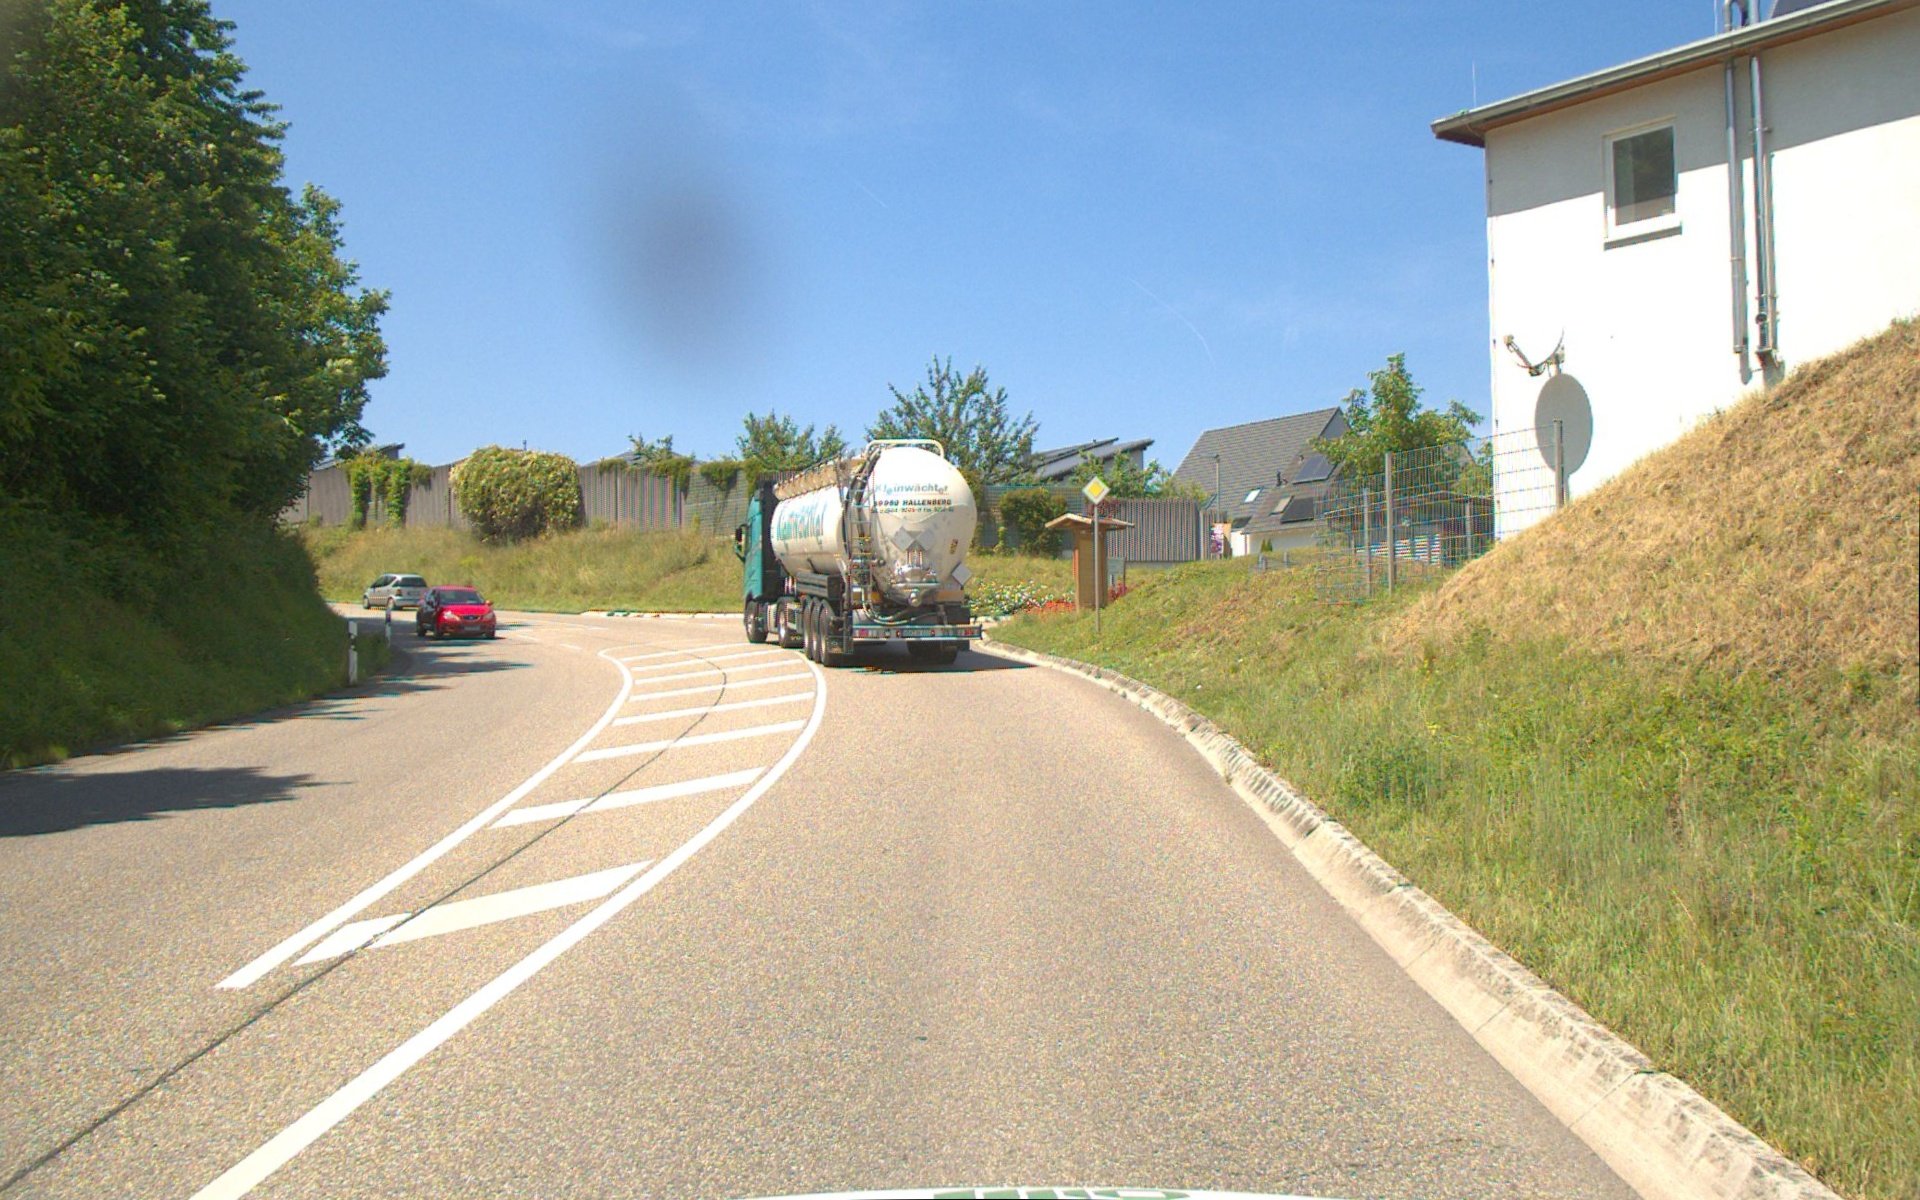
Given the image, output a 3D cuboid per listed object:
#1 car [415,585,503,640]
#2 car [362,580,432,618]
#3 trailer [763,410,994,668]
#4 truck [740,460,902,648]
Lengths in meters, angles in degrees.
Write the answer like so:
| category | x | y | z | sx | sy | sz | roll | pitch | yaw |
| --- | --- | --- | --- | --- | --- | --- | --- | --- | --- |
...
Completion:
| category | x | y | z | sx | sy | sz | roll | pitch | yaw |
| --- | --- | --- | --- | --- | --- | --- | --- | --- | --- |
| car | -14.444 | 0.339 | 47.584 | 1.730 | 1.473 | 3.964 | -2 | 1 | -27 |
| car | -24.415 | -0.051 | 71.654 | 1.638 | 1.536 | 3.585 | 4 | -2 | -41 |
| trailer | -2.025 | -1.116 | 33.438 | 2.615 | 4.261 | 11.866 | -1 | 1 | -13 |
| truck | -3.456 | -1.016 | 39.370 | 2.681 | 3.998 | 7.237 | -2 | 0 | -14 |
